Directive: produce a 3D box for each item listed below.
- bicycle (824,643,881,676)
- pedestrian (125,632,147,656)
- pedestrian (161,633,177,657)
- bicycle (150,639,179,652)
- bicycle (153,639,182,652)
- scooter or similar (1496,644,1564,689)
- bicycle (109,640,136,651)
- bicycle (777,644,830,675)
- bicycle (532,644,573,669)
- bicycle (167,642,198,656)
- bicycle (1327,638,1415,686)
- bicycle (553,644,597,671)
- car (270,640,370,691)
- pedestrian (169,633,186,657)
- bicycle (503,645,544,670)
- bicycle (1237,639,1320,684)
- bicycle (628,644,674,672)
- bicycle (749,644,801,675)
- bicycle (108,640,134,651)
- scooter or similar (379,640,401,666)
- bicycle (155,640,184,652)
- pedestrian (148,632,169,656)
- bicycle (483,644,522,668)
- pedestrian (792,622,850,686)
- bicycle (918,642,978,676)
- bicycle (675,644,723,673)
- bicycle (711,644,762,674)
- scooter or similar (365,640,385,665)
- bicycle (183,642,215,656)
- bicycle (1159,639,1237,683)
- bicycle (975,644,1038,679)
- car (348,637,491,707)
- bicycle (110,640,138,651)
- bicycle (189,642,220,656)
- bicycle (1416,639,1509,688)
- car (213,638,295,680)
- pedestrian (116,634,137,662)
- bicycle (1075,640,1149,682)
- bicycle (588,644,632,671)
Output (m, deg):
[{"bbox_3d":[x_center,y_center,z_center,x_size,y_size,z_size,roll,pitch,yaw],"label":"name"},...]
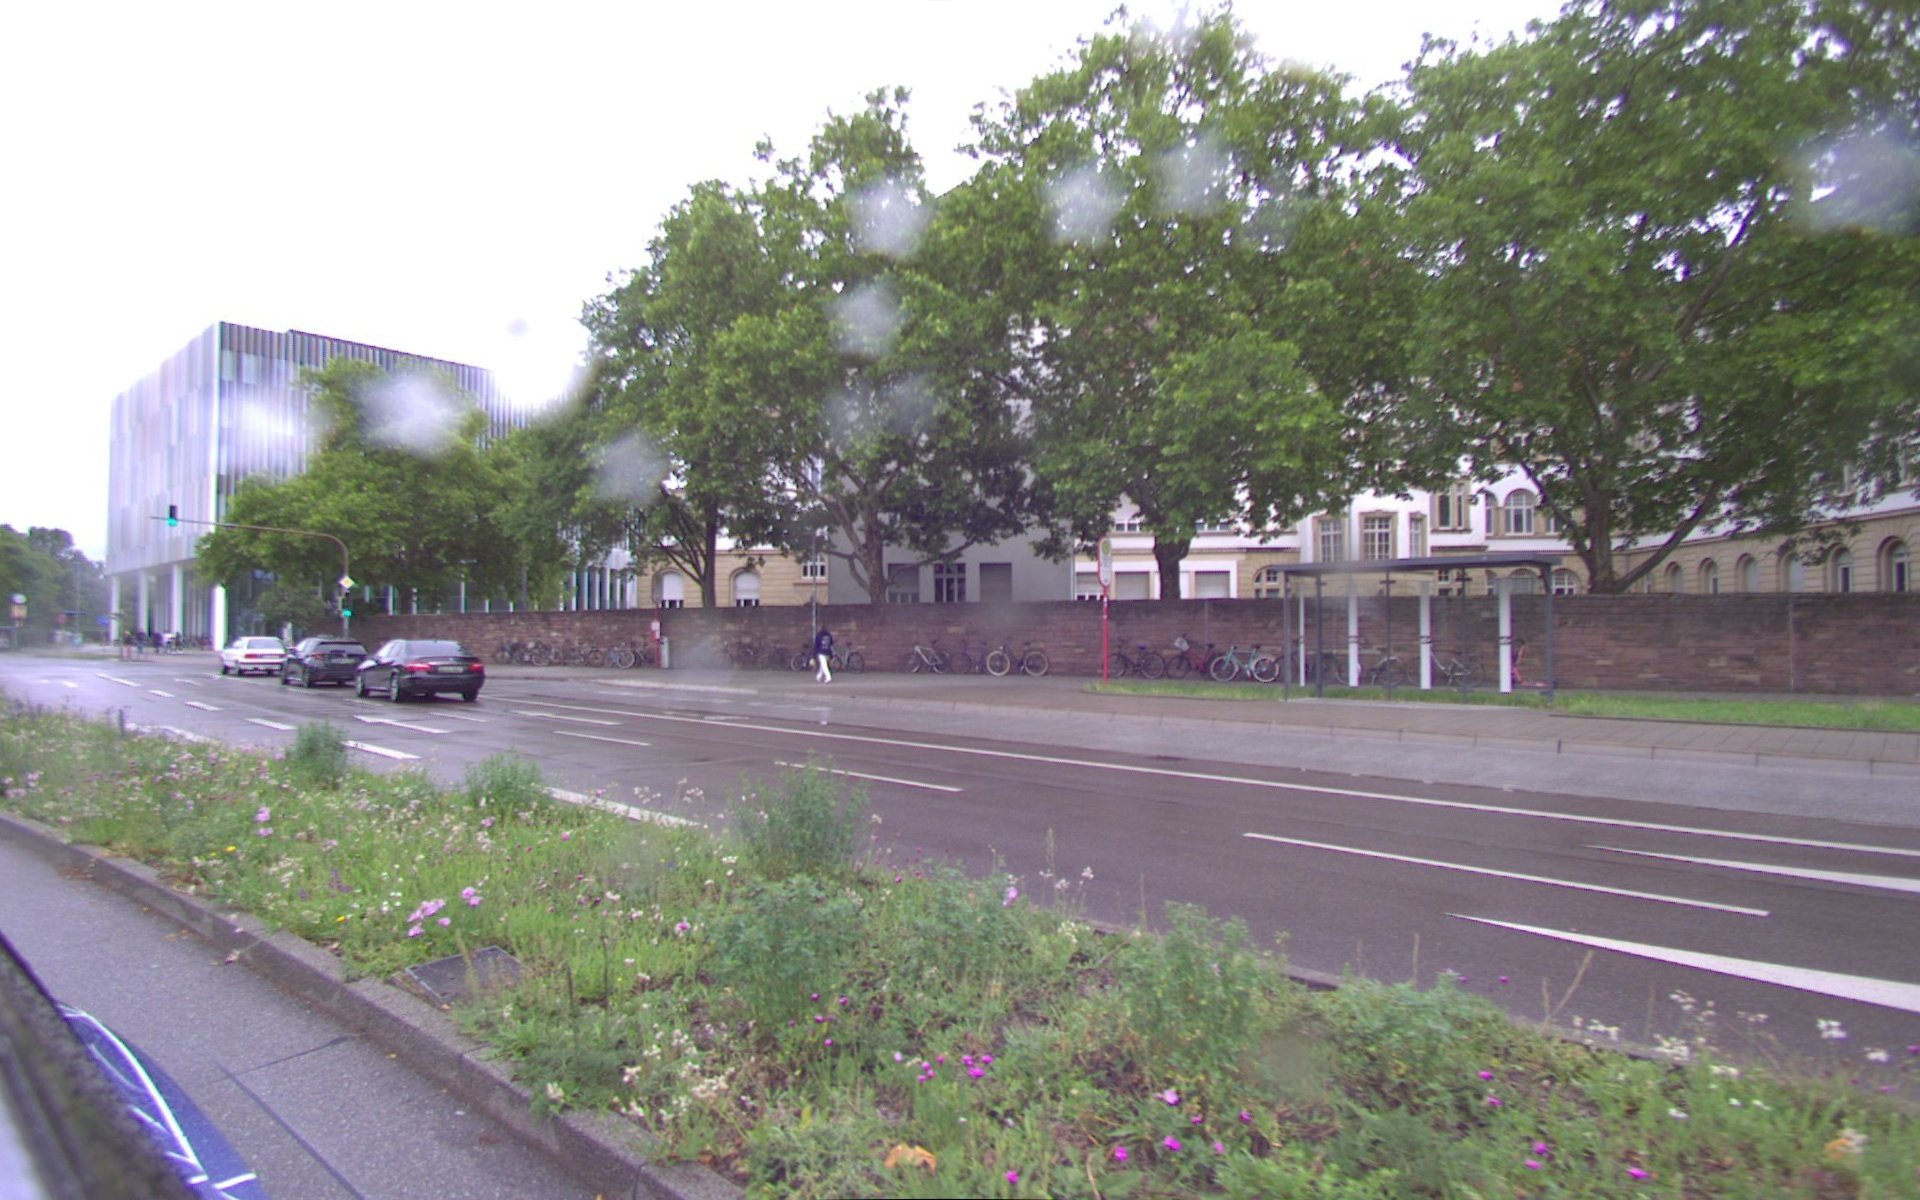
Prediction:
[{"bbox_3d":[-3.388,1.849,31.749,1.696,0.990,0.725,-2,-2,33],"label":"bicycle"},{"bbox_3d":[-63.720,3.435,78.298,0.914,1.838,0.935,-1,-2,13],"label":"pedestrian"},{"bbox_3d":[-61.418,3.472,78.597,0.620,1.838,0.781,-1,-2,20],"label":"pedestrian"},{"bbox_3d":[-79.357,4.533,100.972,2.249,1.231,0.600,1,-3,-38],"label":"bicycle"},{"bbox_3d":[-78.547,4.504,100.325,2.249,1.231,0.600,1,-3,-38],"label":"bicycle"},{"bbox_3d":[13.530,1.571,24.043,1.355,1.055,0.568,-2,-2,28],"label":"scooter or similar"},{"bbox_3d":[-91.763,4.976,110.864,2.249,1.231,0.600,1,-3,-38],"label":"bicycle"},{"bbox_3d":[-5.157,1.955,33.302,1.696,0.990,0.725,-2,-2,33],"label":"bicycle"},{"bbox_3d":[-16.528,2.295,41.026,1.696,0.990,0.725,-2,-2,33],"label":"bicycle"},{"bbox_3d":[-73.176,4.627,95.298,0.596,1.231,2.262,-2,-3,30],"label":"bicycle"},{"bbox_3d":[10.296,1.544,25.352,1.982,1.144,0.569,-2,-3,28],"label":"bicycle"},{"bbox_3d":[-15.004,2.227,39.463,1.861,0.990,0.724,-2,-2,37],"label":"bicycle"},{"bbox_3d":[-19.319,1.925,30.498,4.067,1.426,1.605,-2,-4,44],"label":"car"},{"bbox_3d":[-60.267,3.497,77.916,0.620,1.838,0.781,-1,-2,20],"label":"pedestrian"},{"bbox_3d":[-18.047,2.377,41.850,1.696,0.990,0.725,-2,-2,33],"label":"bicycle"},{"bbox_3d":[8.288,1.595,26.403,1.982,1.144,0.569,-2,-3,28],"label":"bicycle"},{"bbox_3d":[-11.455,2.134,37.516,1.696,0.990,0.725,-2,-2,33],"label":"bicycle"},{"bbox_3d":[-6.242,1.991,34.108,1.696,0.990,0.725,-2,-2,33],"label":"bicycle"},{"bbox_3d":[-93.443,5.057,112.733,2.249,1.231,0.600,1,-3,-38],"label":"bicycle"},{"bbox_3d":[-27.542,2.547,48.895,1.140,1.206,0.387,-2,4,37],"label":"scooter or similar"},{"bbox_3d":[-77.773,4.512,99.560,2.249,1.231,0.600,1,-3,-38],"label":"bicycle"},{"bbox_3d":[-62.653,3.460,79.085,0.917,1.838,0.933,-1,-2,20],"label":"pedestrian"},{"bbox_3d":[-19.531,2.395,43.227,1.696,0.990,0.725,-2,-2,33],"label":"bicycle"},{"bbox_3d":[-3.817,1.466,27.811,1.398,1.708,0.860,-2,-2,37],"label":"pedestrian"},{"bbox_3d":[-0.378,1.789,30.684,1.696,0.990,0.725,-2,-2,33],"label":"bicycle"},{"bbox_3d":[-9.250,2.059,35.855,1.696,0.990,0.725,-2,-2,33],"label":"bicycle"},{"bbox_3d":[-7.736,2.017,34.985,1.696,0.990,0.725,-2,-2,33],"label":"bicycle"},{"bbox_3d":[-28.951,2.600,50.073,1.140,1.206,0.387,-2,4,39],"label":"scooter or similar"},{"bbox_3d":[-70.816,4.571,94.174,0.596,1.231,2.262,-2,-3,30],"label":"bicycle"},{"bbox_3d":[6.386,1.635,27.196,1.979,1.144,0.570,-1,-3,24],"label":"bicycle"},{"bbox_3d":[1.349,1.781,29.520,1.696,0.990,0.725,-2,-2,33],"label":"bicycle"},{"bbox_3d":[-13.303,1.714,24.775,1.787,1.552,4.706,4,-4,-44],"label":"car"},{"bbox_3d":[-91.089,4.951,110.291,2.249,1.231,0.600,1,-3,-38],"label":"bicycle"},{"bbox_3d":[-70.146,4.561,93.997,0.596,1.231,2.262,-2,-3,30],"label":"bicycle"},{"bbox_3d":[12.232,1.532,24.675,1.982,1.144,0.569,-2,-3,28],"label":"bicycle"},{"bbox_3d":[-25.732,2.121,36.814,4.526,1.426,1.578,-2,-4,44],"label":"car"},{"bbox_3d":[-55.556,3.201,67.457,0.790,1.838,0.781,-1,-2,20],"label":"pedestrian"},{"bbox_3d":[4.244,1.688,28.299,1.979,1.144,0.570,-1,-3,24],"label":"bicycle"},{"bbox_3d":[-13.346,2.184,38.564,1.696,0.990,0.725,-2,-2,33],"label":"bicycle"}]
